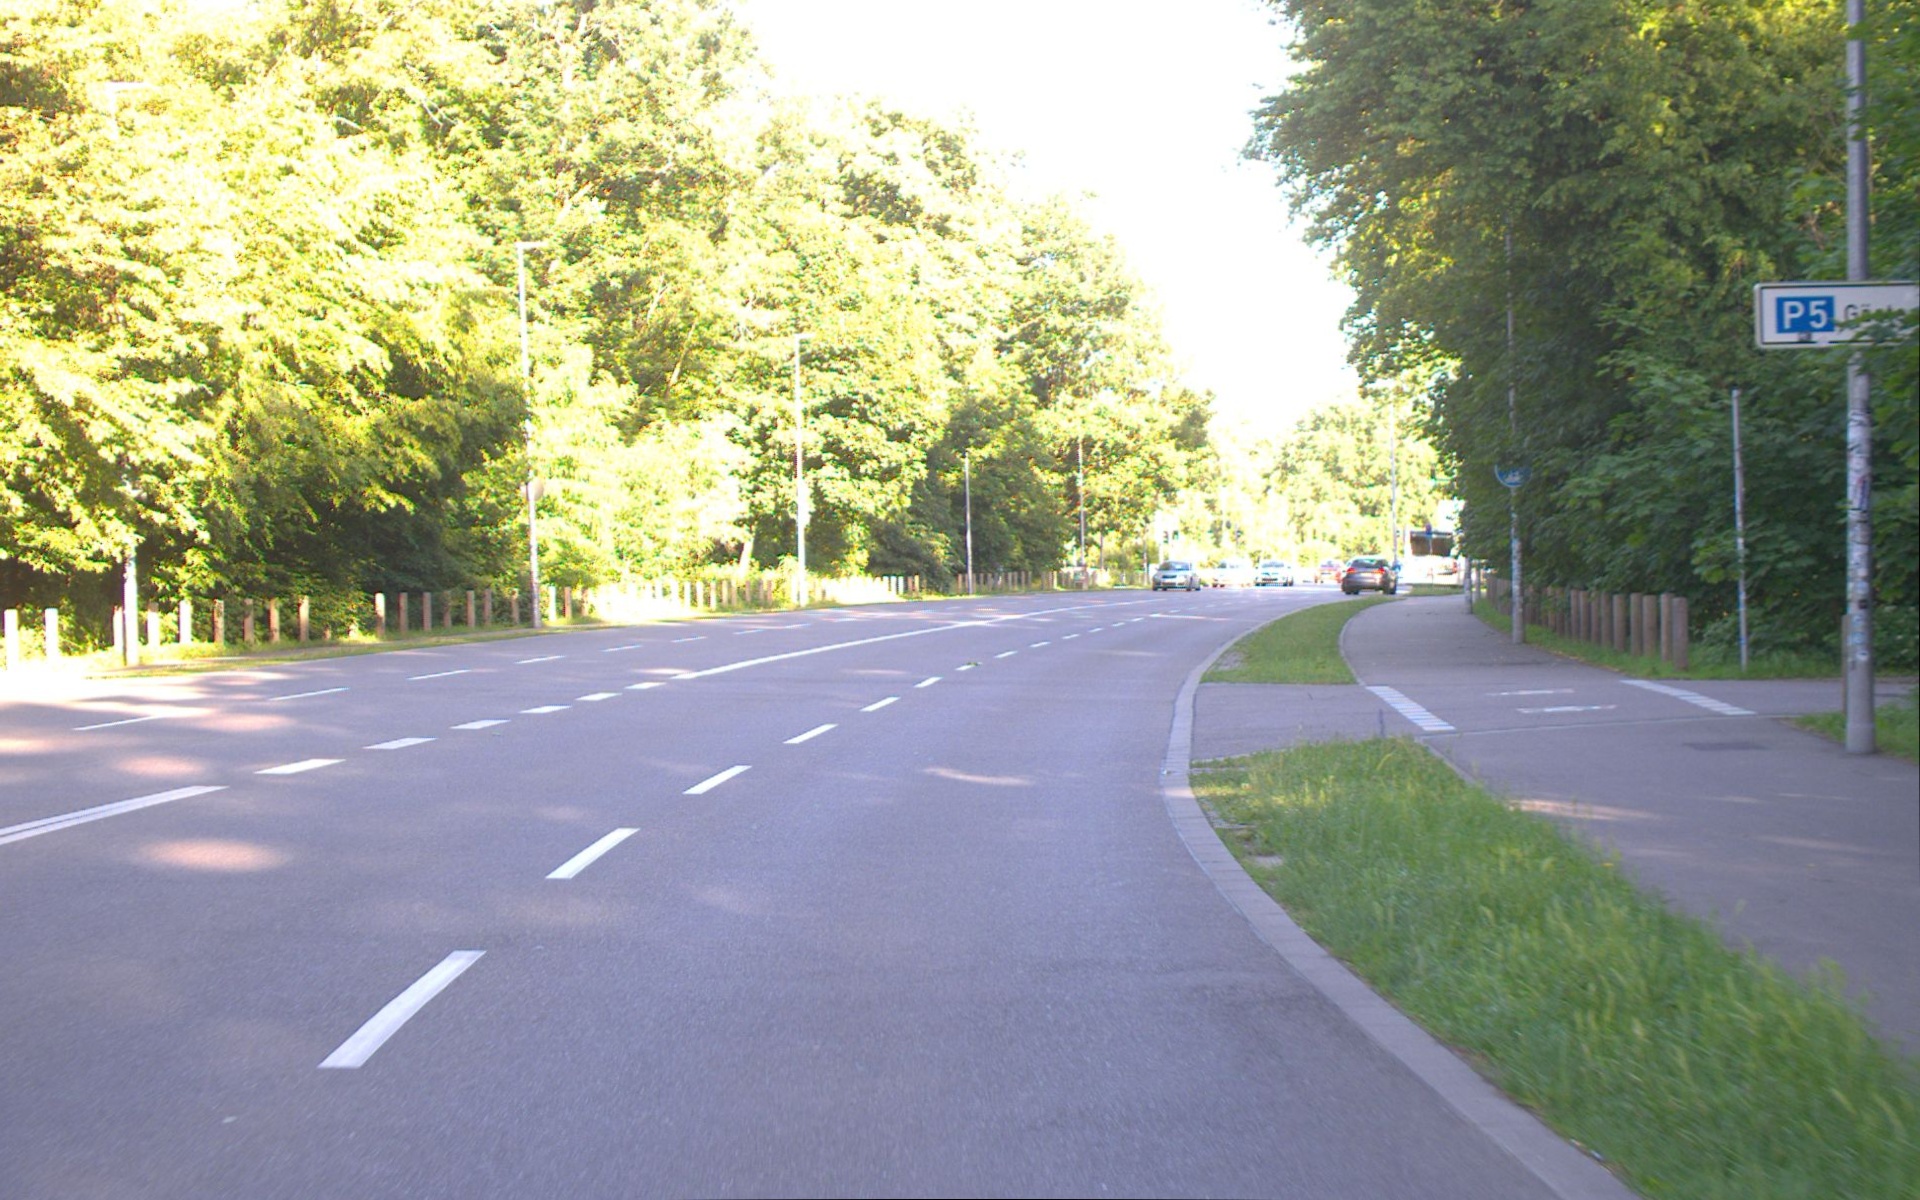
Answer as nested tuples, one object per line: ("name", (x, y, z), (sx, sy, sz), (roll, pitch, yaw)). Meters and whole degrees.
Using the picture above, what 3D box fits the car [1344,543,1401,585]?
("car", (17.724, -1.556, 147.667), (1.881, 1.759, 3.997), (-1, 1, 15))

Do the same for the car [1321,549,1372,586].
("car", (18.467, -1.571, 164.142), (1.881, 1.703, 3.997), (-1, 1, 15))

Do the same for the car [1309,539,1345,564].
("car", (23.125, -3.072, 216.545), (1.664, 1.513, 3.804), (-1, 1, 15))

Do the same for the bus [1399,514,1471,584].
("bus", (23.197, -2.509, 167.600), (2.607, 3.357, 7.970), (0, 1, 14))

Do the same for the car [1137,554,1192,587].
("car", (9.268, -1.361, 155.639), (1.780, 1.403, 4.163), (0, 2, 13))

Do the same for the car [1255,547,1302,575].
("car", (17.792, -2.171, 192.117), (1.784, 1.517, 4.394), (0, 1, 16))

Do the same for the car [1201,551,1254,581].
("car", (13.601, -1.703, 174.757), (1.781, 1.459, 4.271), (-1, 0, 17))
